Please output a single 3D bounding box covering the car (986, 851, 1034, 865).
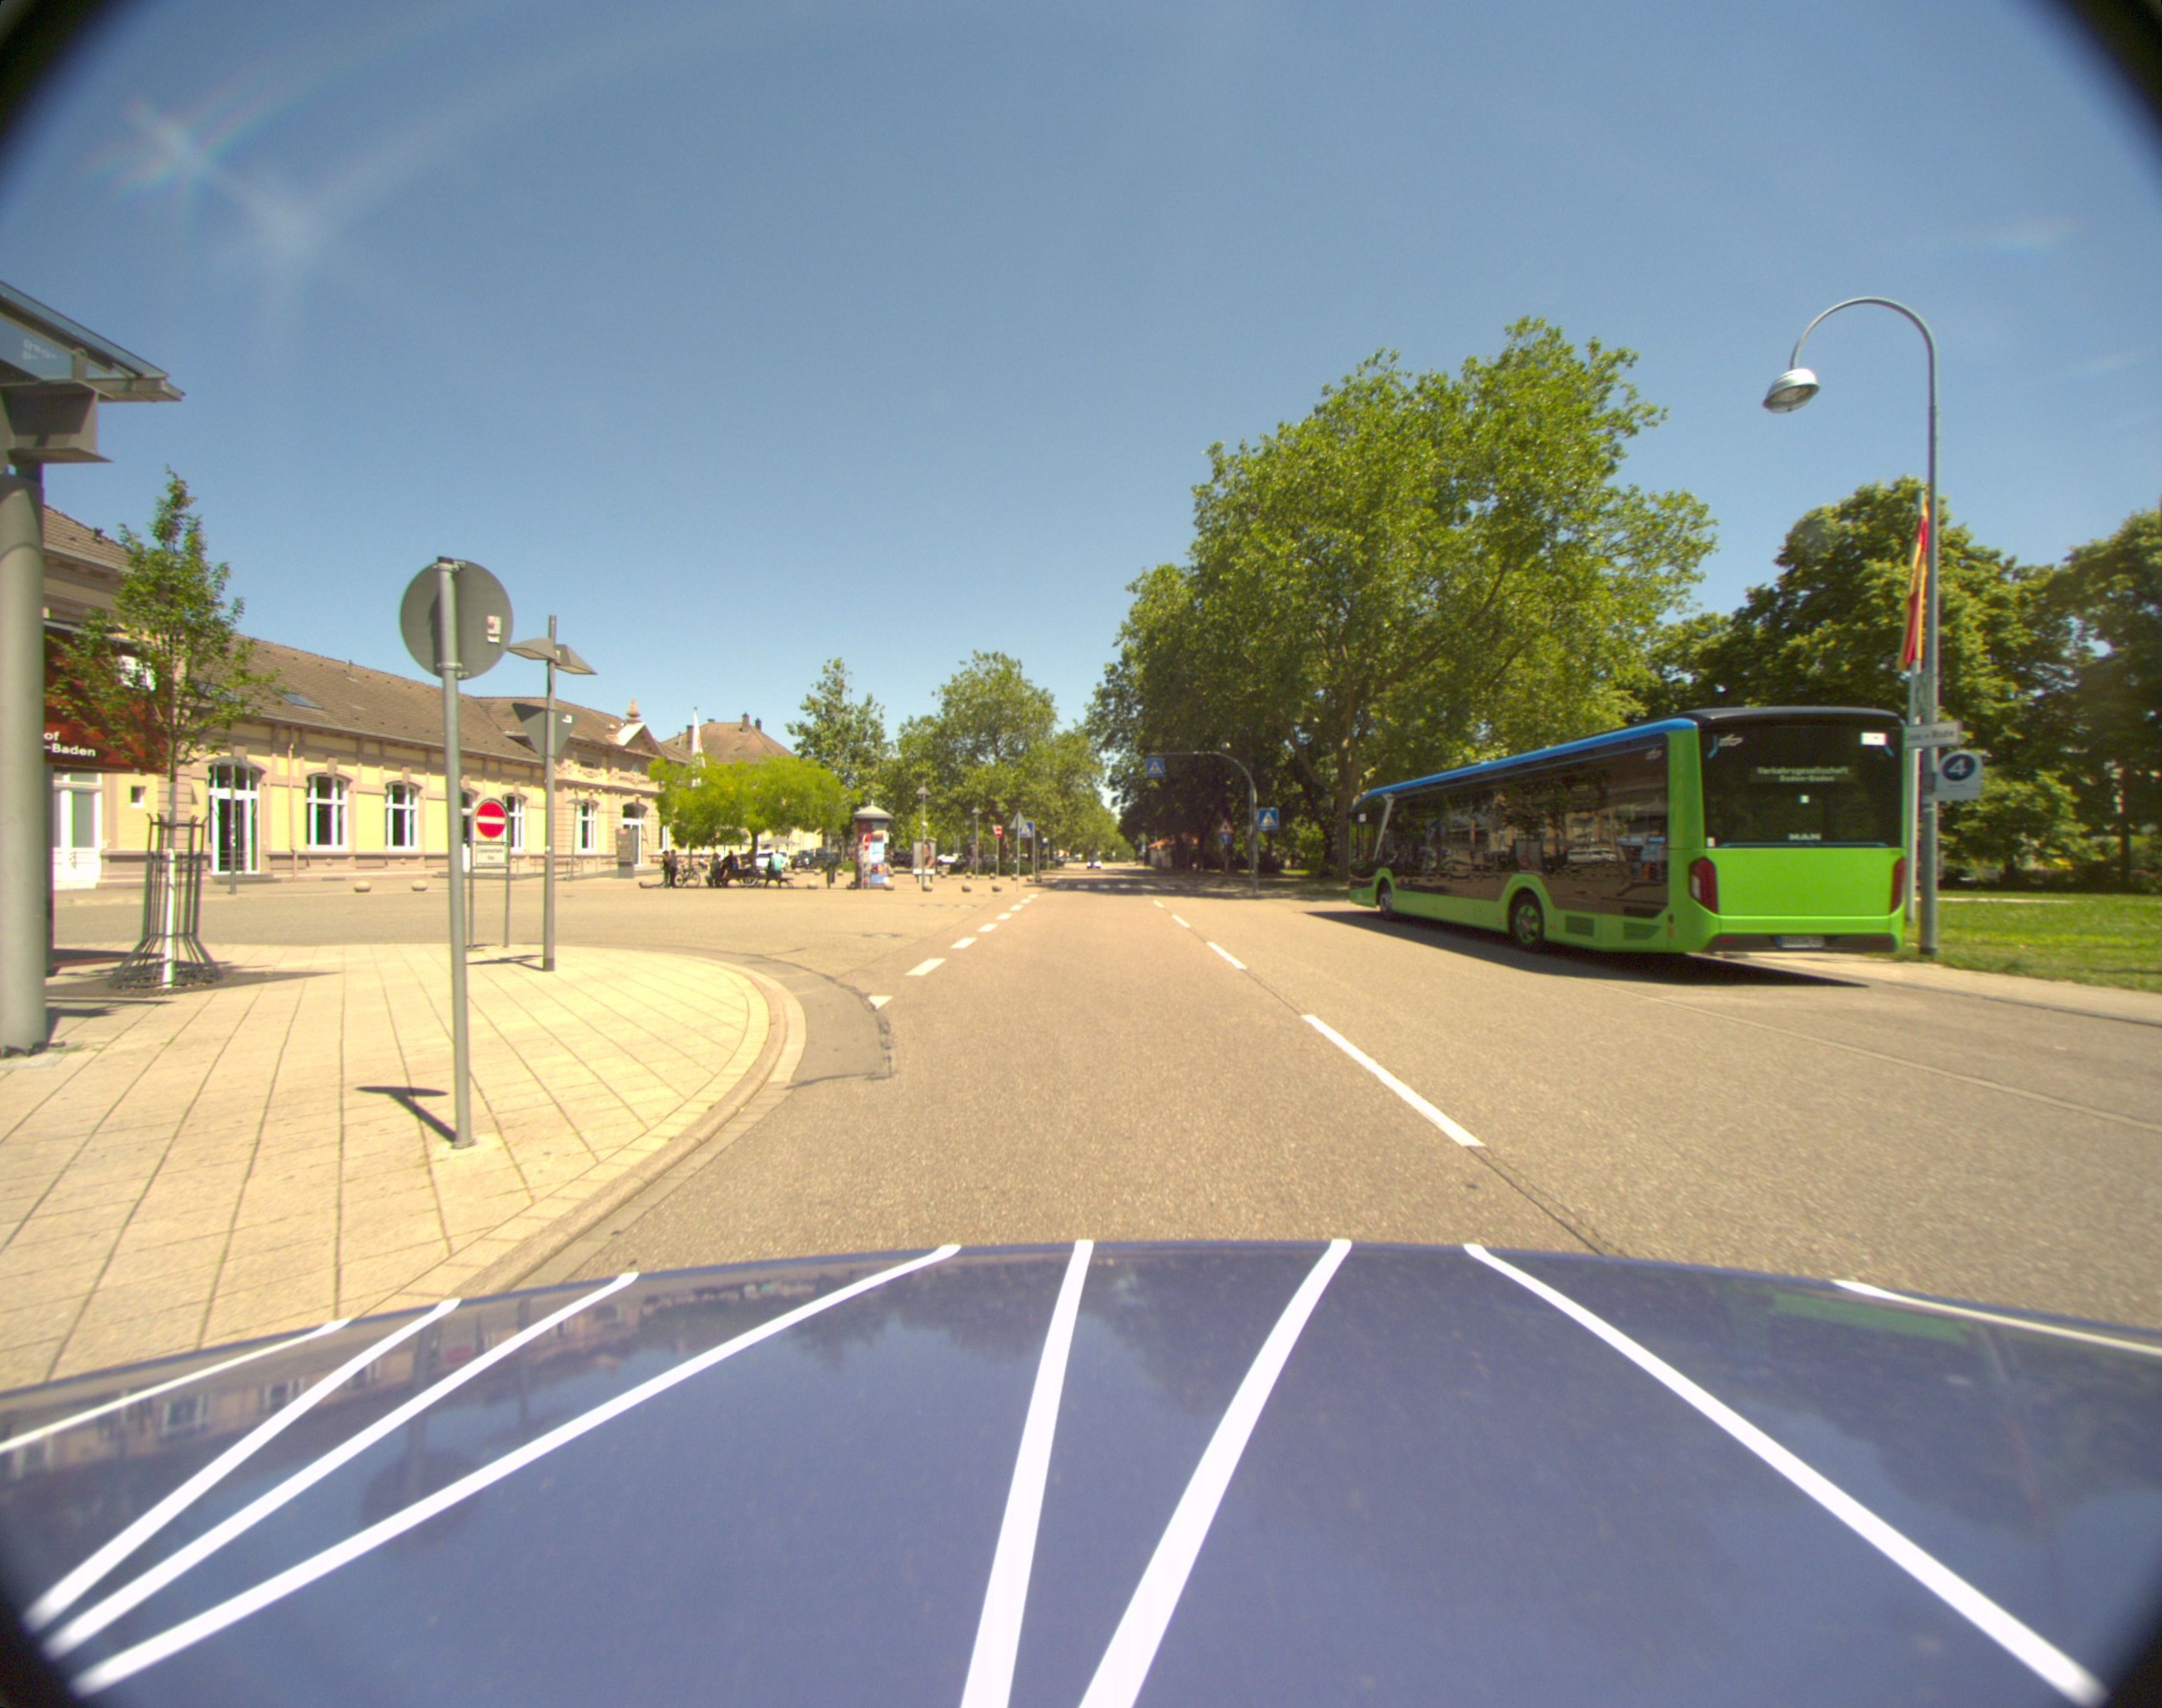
[{"bbox_3d":[-7.566,0.451,81.094,4.782,1.408,1.783,0,1,-18],"label":"car"}]

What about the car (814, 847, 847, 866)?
[{"bbox_3d":[-25.642,0.249,78.070,2.080,1.829,4.839,-1,0,-4],"label":"car"}]

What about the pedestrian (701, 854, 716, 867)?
[{"bbox_3d":[-30.681,0.511,62.592,0.881,1.073,0.851,2,0,-3],"label":"pedestrian"}]

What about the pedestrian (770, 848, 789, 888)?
[{"bbox_3d":[-13.370,0.625,33.698,0.694,1.753,0.584,0,1,-12],"label":"pedestrian"}]

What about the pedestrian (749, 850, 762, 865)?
[{"bbox_3d":[-30.733,0.340,71.740,0.881,1.363,0.851,2,0,-3],"label":"pedestrian"}]

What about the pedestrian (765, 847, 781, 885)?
[{"bbox_3d":[-13.953,0.537,34.397,0.628,1.730,0.547,0,1,-24],"label":"pedestrian"}]

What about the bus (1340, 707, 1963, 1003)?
[{"bbox_3d":[8.403,0.008,14.610,2.815,3.264,12.425,0,0,1],"label":"bus"}]

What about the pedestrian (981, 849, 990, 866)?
[{"bbox_3d":[-9.981,0.412,79.323,0.839,1.760,0.850,0,1,-19],"label":"pedestrian"}]

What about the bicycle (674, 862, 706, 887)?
[{"bbox_3d":[-17.484,0.905,34.008,0.421,1.054,1.948,0,1,-1],"label":"bicycle"}]

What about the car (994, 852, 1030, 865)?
[{"bbox_3d":[-8.304,0.544,91.526,3.882,1.452,1.633,0,0,-27],"label":"car"}]

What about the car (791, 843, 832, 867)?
[{"bbox_3d":[-25.177,0.086,71.214,2.093,2.111,5.824,-1,0,-4],"label":"car"}]

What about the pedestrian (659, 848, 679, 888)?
[{"bbox_3d":[-17.206,0.572,31.726,0.555,1.675,0.587,0,1,-11],"label":"pedestrian"}]

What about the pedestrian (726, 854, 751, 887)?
[{"bbox_3d":[-14.702,0.714,32.604,0.914,1.378,0.942,0,1,-28],"label":"pedestrian"}]

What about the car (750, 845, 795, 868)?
[{"bbox_3d":[-25.793,0.204,63.738,1.814,1.854,5.138,-1,0,-1],"label":"car"}]

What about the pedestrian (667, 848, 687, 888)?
[{"bbox_3d":[-17.212,0.601,32.371,0.619,1.675,0.590,0,1,-11],"label":"pedestrian"}]

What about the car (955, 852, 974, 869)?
[{"bbox_3d":[-11.025,0.587,71.973,1.601,1.584,3.105,0,0,-5],"label":"car"}]

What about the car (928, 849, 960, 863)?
[{"bbox_3d":[-16.440,0.210,91.288,1.804,1.596,4.051,-2,3,-44],"label":"car"}]

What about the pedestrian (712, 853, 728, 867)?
[{"bbox_3d":[-29.740,0.495,62.631,0.881,1.155,0.851,2,0,-3],"label":"pedestrian"}]

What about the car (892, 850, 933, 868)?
[{"bbox_3d":[-16.606,0.477,74.720,4.516,1.534,1.804,2,3,45],"label":"car"}]

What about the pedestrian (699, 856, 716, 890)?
[{"bbox_3d":[-15.278,0.764,31.061,0.600,1.356,0.598,0,0,-27],"label":"pedestrian"}]

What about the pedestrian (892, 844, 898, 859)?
[{"bbox_3d":[-25.023,-0.316,101.994,0.628,1.978,0.617,-1,1,-4],"label":"pedestrian"}]

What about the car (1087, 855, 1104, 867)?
[{"bbox_3d":[1.770,0.815,94.338,1.661,1.368,3.450,-3,0,-5],"label":"car"}]

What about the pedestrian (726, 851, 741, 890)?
[{"bbox_3d":[-15.319,0.720,33.487,0.586,1.730,0.598,0,1,-24],"label":"pedestrian"}]

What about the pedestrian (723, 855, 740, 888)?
[{"bbox_3d":[-14.438,0.730,31.409,0.600,1.356,0.598,0,0,-27],"label":"pedestrian"}]

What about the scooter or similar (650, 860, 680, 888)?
[{"bbox_3d":[-16.806,0.795,30.699,1.028,1.132,0.294,0,1,-6],"label":"scooter or similar"}]

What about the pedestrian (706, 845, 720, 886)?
[{"bbox_3d":[-15.788,0.484,32.581,0.513,1.730,0.569,0,1,-28],"label":"pedestrian"}]
